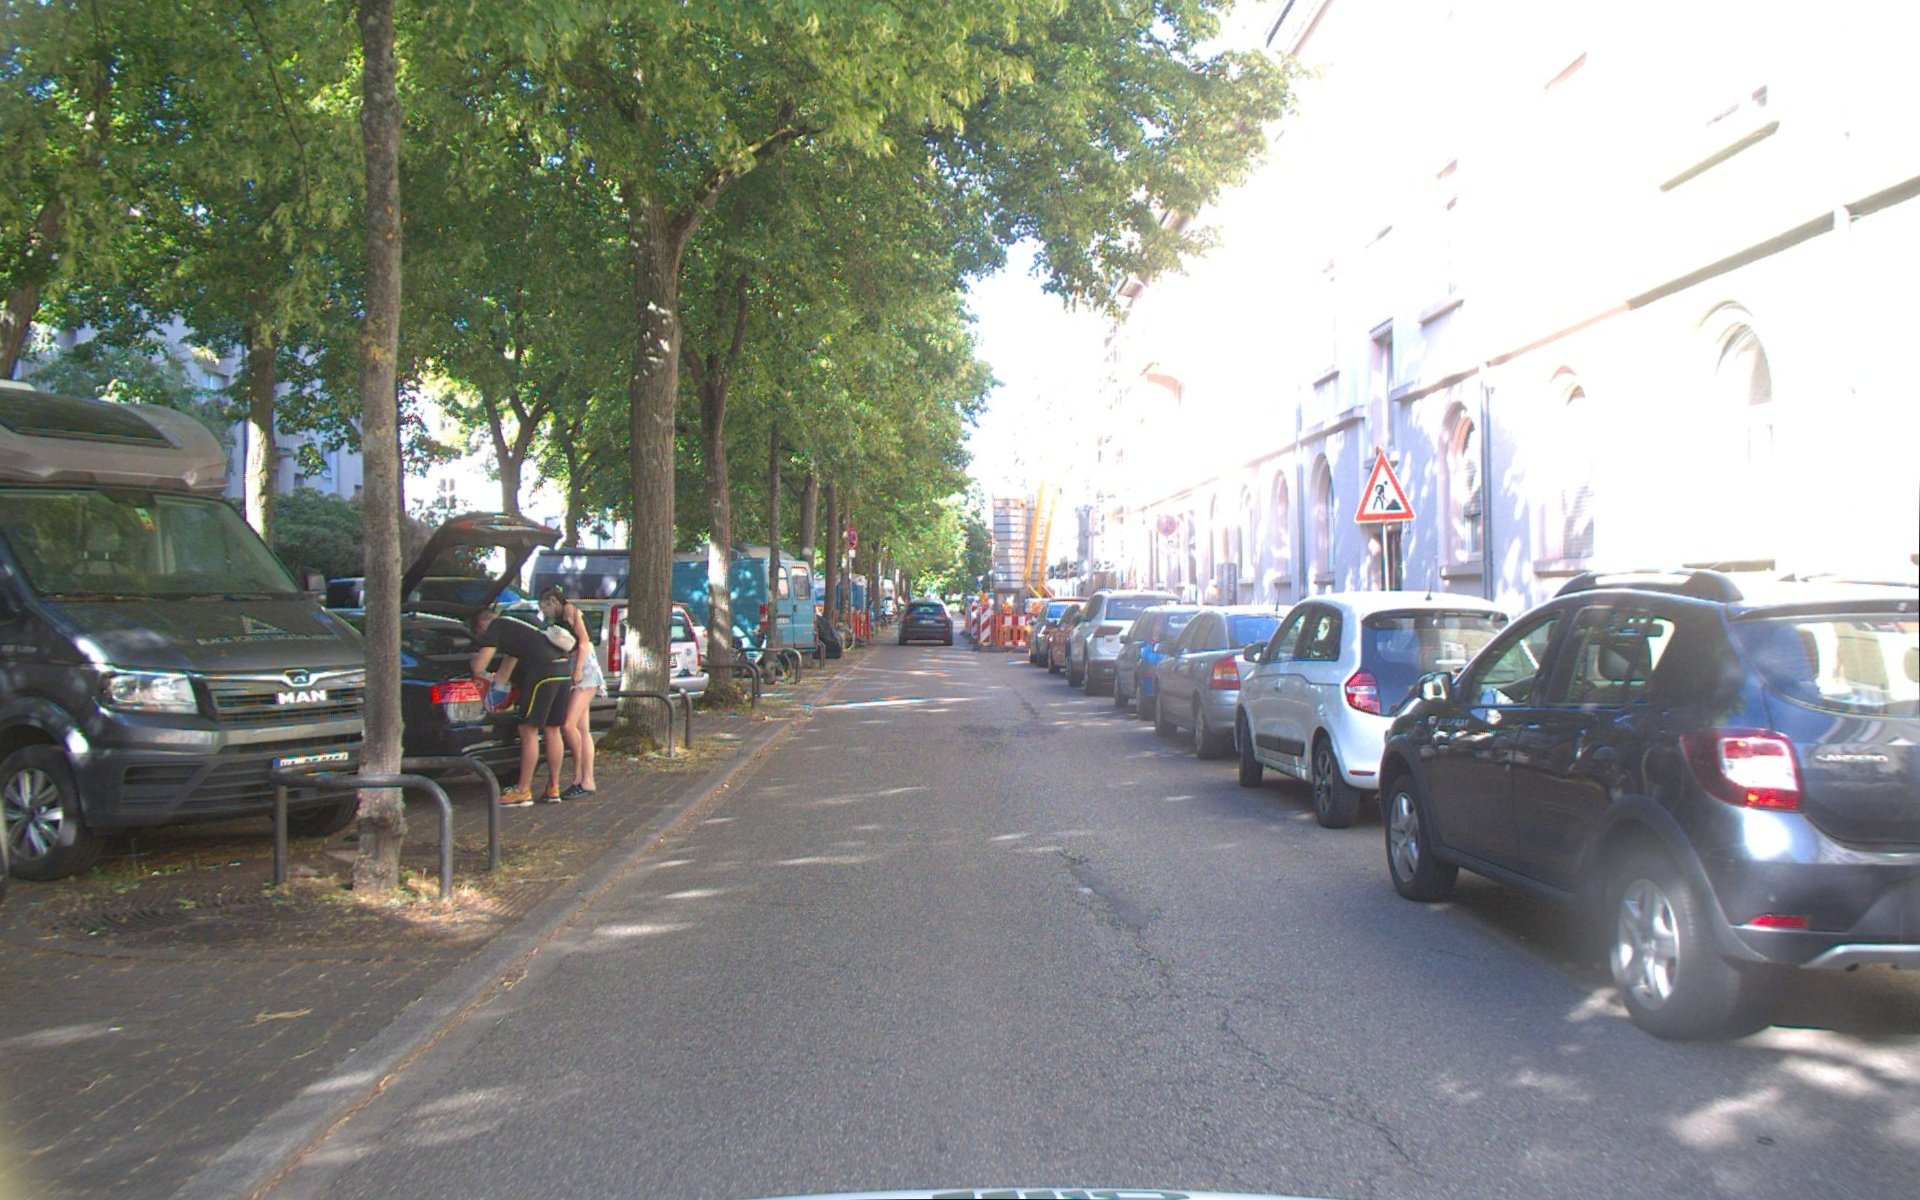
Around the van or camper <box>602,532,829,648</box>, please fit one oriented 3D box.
[{"bbox_3d":[-7.414,-0.258,49.919,6.527,3.297,2.492,-1,0,28],"label":"van or camper"}]

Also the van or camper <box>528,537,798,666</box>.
[{"bbox_3d":[-6.648,0.067,36.828,5.756,2.683,2.252,-1,0,29],"label":"van or camper"}]

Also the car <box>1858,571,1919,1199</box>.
[{"bbox_3d":[3.197,0.707,2.099,1.688,1.555,4.155,-1,0,-3],"label":"car"}]

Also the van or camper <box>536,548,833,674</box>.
[{"bbox_3d":[-5.431,0.227,32.604,5.386,2.315,2.220,-1,0,23],"label":"van or camper"}]

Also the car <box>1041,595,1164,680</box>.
[{"bbox_3d":[2.778,0.702,33.086,1.756,1.550,3.959,-1,0,-5],"label":"car"}]

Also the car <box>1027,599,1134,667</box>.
[{"bbox_3d":[2.681,0.707,37.784,1.953,1.434,4.499,0,0,-2],"label":"car"}]

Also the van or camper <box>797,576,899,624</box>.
[{"bbox_3d":[-6.222,-0.006,91.525,5.235,2.518,2.289,-1,0,31],"label":"van or camper"}]

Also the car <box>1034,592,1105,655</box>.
[{"bbox_3d":[2.798,0.587,42.606,1.560,1.557,2.779,0,0,-2],"label":"car"}]

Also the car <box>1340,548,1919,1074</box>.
[{"bbox_3d":[3.128,0.632,7.267,1.688,1.624,4.154,-1,0,-4],"label":"car"}]

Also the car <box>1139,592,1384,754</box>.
[{"bbox_3d":[2.960,0.651,17.045,1.598,1.437,4.087,-1,0,-2],"label":"car"}]

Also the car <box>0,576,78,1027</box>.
[{"bbox_3d":[-5.278,0.732,6.010,3.910,1.533,1.755,-1,0,28],"label":"car"}]

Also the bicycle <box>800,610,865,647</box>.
[{"bbox_3d":[-3.644,0.822,47.275,1.858,1.024,0.430,-1,0,23],"label":"bicycle"}]

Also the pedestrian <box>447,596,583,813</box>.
[{"bbox_3d":[-3.157,0.721,11.751,0.695,1.481,0.596,-1,0,22],"label":"pedestrian"}]

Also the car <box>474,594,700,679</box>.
[{"bbox_3d":[-6.855,0.650,30.340,3.911,1.456,1.718,-1,0,30],"label":"car"}]

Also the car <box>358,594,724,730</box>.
[{"bbox_3d":[-5.114,0.693,20.005,4.393,1.468,1.728,-1,0,32],"label":"car"}]

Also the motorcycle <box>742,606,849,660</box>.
[{"bbox_3d":[-4.059,0.804,40.818,2.495,1.280,0.763,-1,0,7],"label":"motorcycle"}]

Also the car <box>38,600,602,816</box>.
[{"bbox_3d":[-5.020,0.756,12.899,4.230,1.449,1.674,-1,0,26],"label":"car"}]

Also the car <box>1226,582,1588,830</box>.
[{"bbox_3d":[3.158,0.668,12.402,1.598,1.561,3.591,-1,0,-3],"label":"car"}]

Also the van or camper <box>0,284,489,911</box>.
[{"bbox_3d":[-6.543,0.035,10.480,7.083,2.981,2.312,-1,0,26],"label":"van or camper"}]

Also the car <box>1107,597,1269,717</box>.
[{"bbox_3d":[2.972,0.694,22.200,1.585,1.437,3.787,-1,0,-1],"label":"car"}]

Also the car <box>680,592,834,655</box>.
[{"bbox_3d":[-5.646,0.650,45.989,3.874,1.657,1.822,-1,0,25],"label":"car"}]

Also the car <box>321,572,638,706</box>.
[{"bbox_3d":[-7.006,0.527,24.014,4.460,1.795,1.807,-1,0,29],"label":"car"}]

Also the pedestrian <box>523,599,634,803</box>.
[{"bbox_3d":[-2.852,0.740,12.382,0.602,1.481,0.519,-1,0,22],"label":"pedestrian"}]

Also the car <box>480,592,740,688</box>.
[{"bbox_3d":[-5.737,0.632,27.094,3.867,1.468,1.844,-1,0,27],"label":"car"}]

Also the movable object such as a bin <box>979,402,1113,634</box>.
[{"bbox_3d":[2.659,-2.428,51.007,3.415,6.878,2.363,-1,0,31],"label":"movable object such as a bin"}]

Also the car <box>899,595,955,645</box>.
[{"bbox_3d":[-1.116,0.624,54.690,1.761,1.530,3.584,-1,0,-2],"label":"car"}]

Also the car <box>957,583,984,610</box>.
[{"bbox_3d":[0.718,-0.273,119.290,1.761,1.832,3.584,-1,0,-2],"label":"car"}]

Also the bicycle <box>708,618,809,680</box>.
[{"bbox_3d":[-3.520,0.849,28.961,1.702,1.023,0.506,-1,0,-32],"label":"bicycle"}]

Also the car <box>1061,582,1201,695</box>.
[{"bbox_3d":[2.761,0.570,27.626,1.779,1.703,4.672,-1,0,-1],"label":"car"}]
